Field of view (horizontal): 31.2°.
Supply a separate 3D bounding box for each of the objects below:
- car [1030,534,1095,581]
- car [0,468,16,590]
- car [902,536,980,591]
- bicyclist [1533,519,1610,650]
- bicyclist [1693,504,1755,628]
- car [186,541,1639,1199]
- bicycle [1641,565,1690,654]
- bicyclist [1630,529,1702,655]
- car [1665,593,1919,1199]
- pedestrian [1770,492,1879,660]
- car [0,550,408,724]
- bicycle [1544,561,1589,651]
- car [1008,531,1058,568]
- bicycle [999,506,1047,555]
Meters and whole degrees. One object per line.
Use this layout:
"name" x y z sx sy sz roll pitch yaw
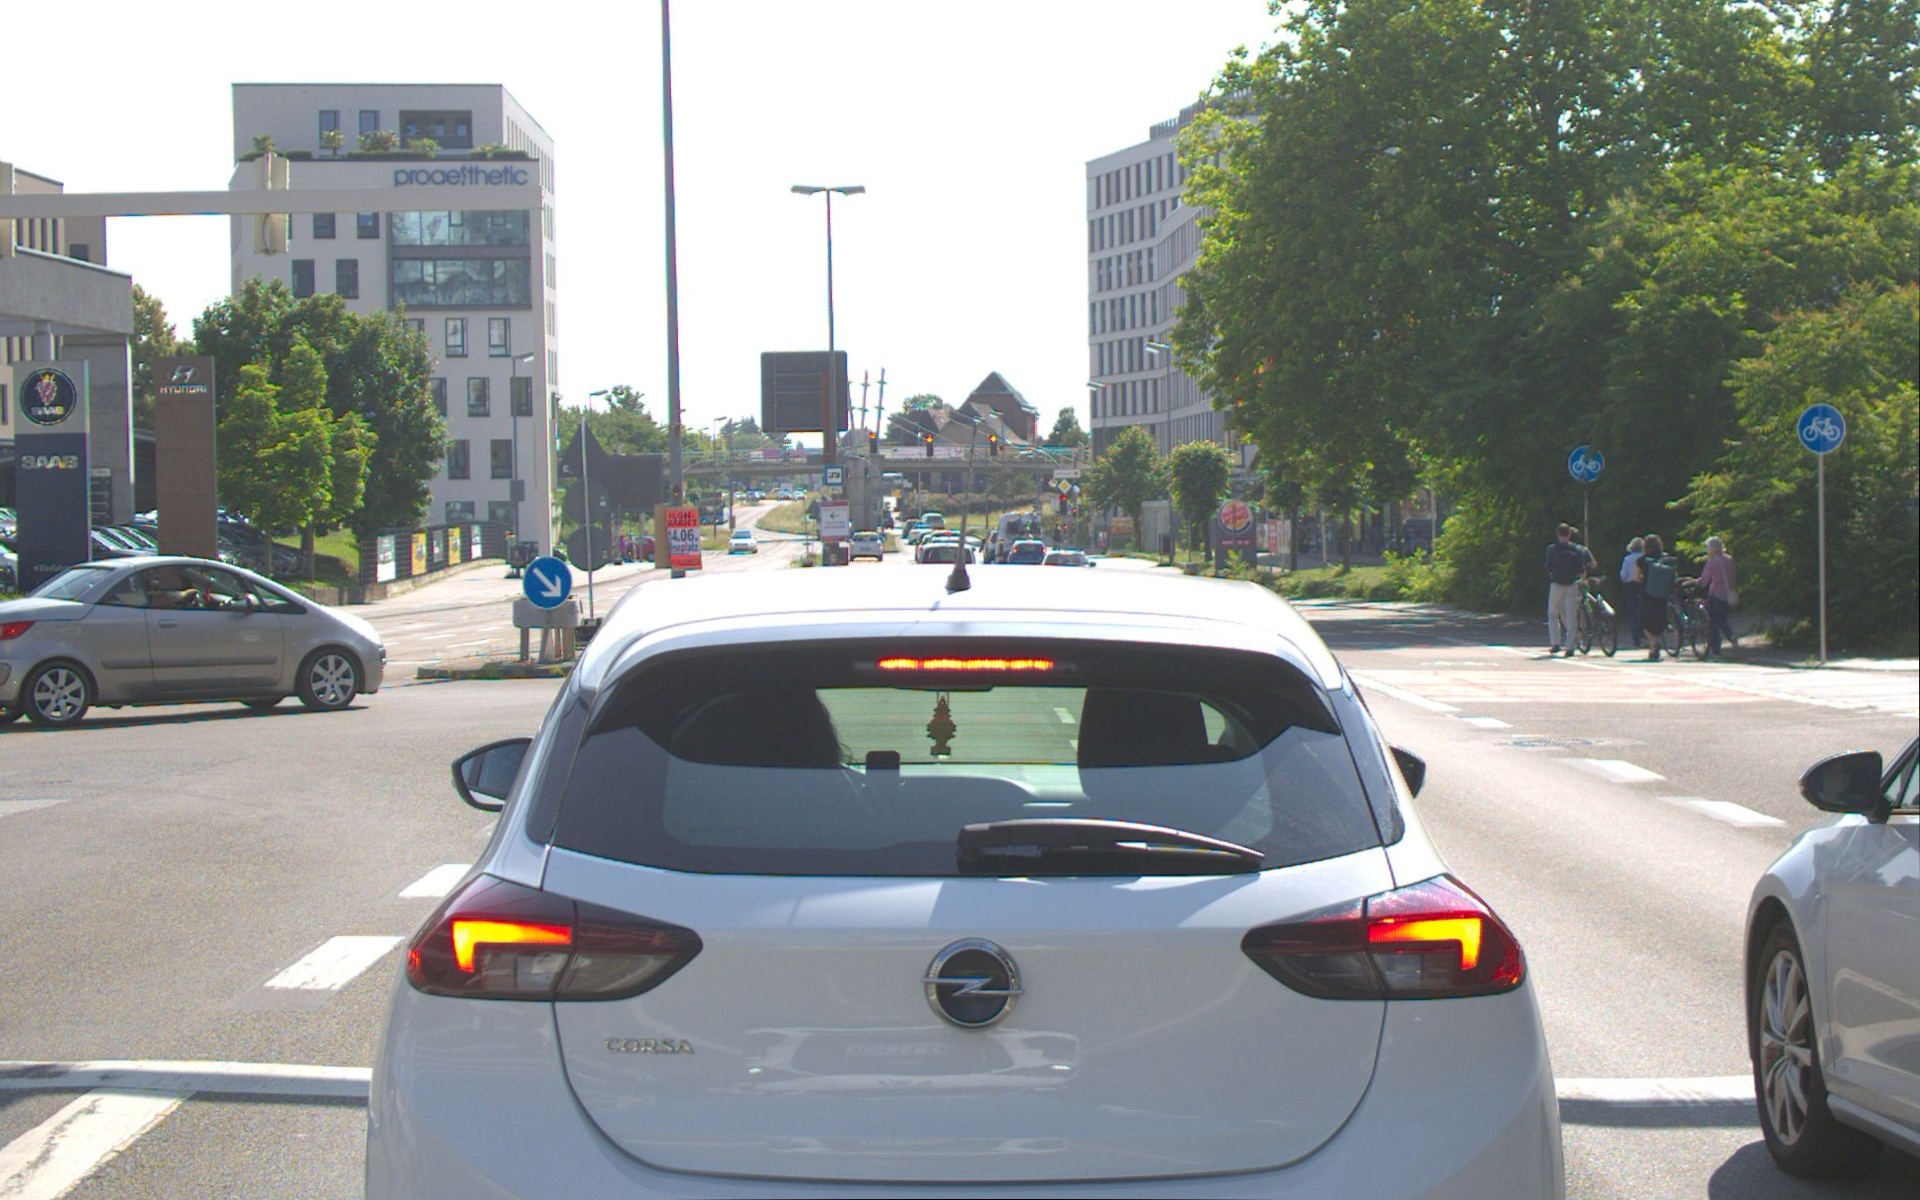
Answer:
"car" 3.116 -1.294 105.273 1.806 1.381 4.000 1 0 -1
"car" -22.557 -1.482 73.036 4.357 2.592 2.000 -1 1 5
"car" -0.519 -0.938 89.418 1.806 1.381 4.000 1 0 -3
"bicyclist" 8.359 -0.213 47.024 0.879 1.766 0.864 -1 1 0
"bicyclist" 10.187 -0.448 45.845 0.652 1.631 0.659 1 0 0
"car" -0.081 0.648 6.235 1.779 1.489 4.000 -1 1 -1
"bicycle" 9.261 0.118 45.172 0.373 1.143 1.034 1 0 -3
"bicyclist" 9.283 -0.115 45.205 0.688 1.637 0.777 -1 1 -9
"car" 2.828 0.710 6.849 1.807 1.424 4.001 -1 1 -3
"pedestrian" 10.468 -0.298 41.668 1.027 2.007 1.039 -1 1 -1
"car" -7.201 0.293 30.656 3.987 1.327 2.000 -3 2 -32
"bicycle" 8.286 0.071 46.990 0.372 1.212 1.154 1 1 -1
"car" 2.882 -1.988 136.501 1.806 1.381 4.000 1 0 -1
"bicycle" 2.845 -3.145 155.626 1.993 2.150 4.000 -1 1 -1
